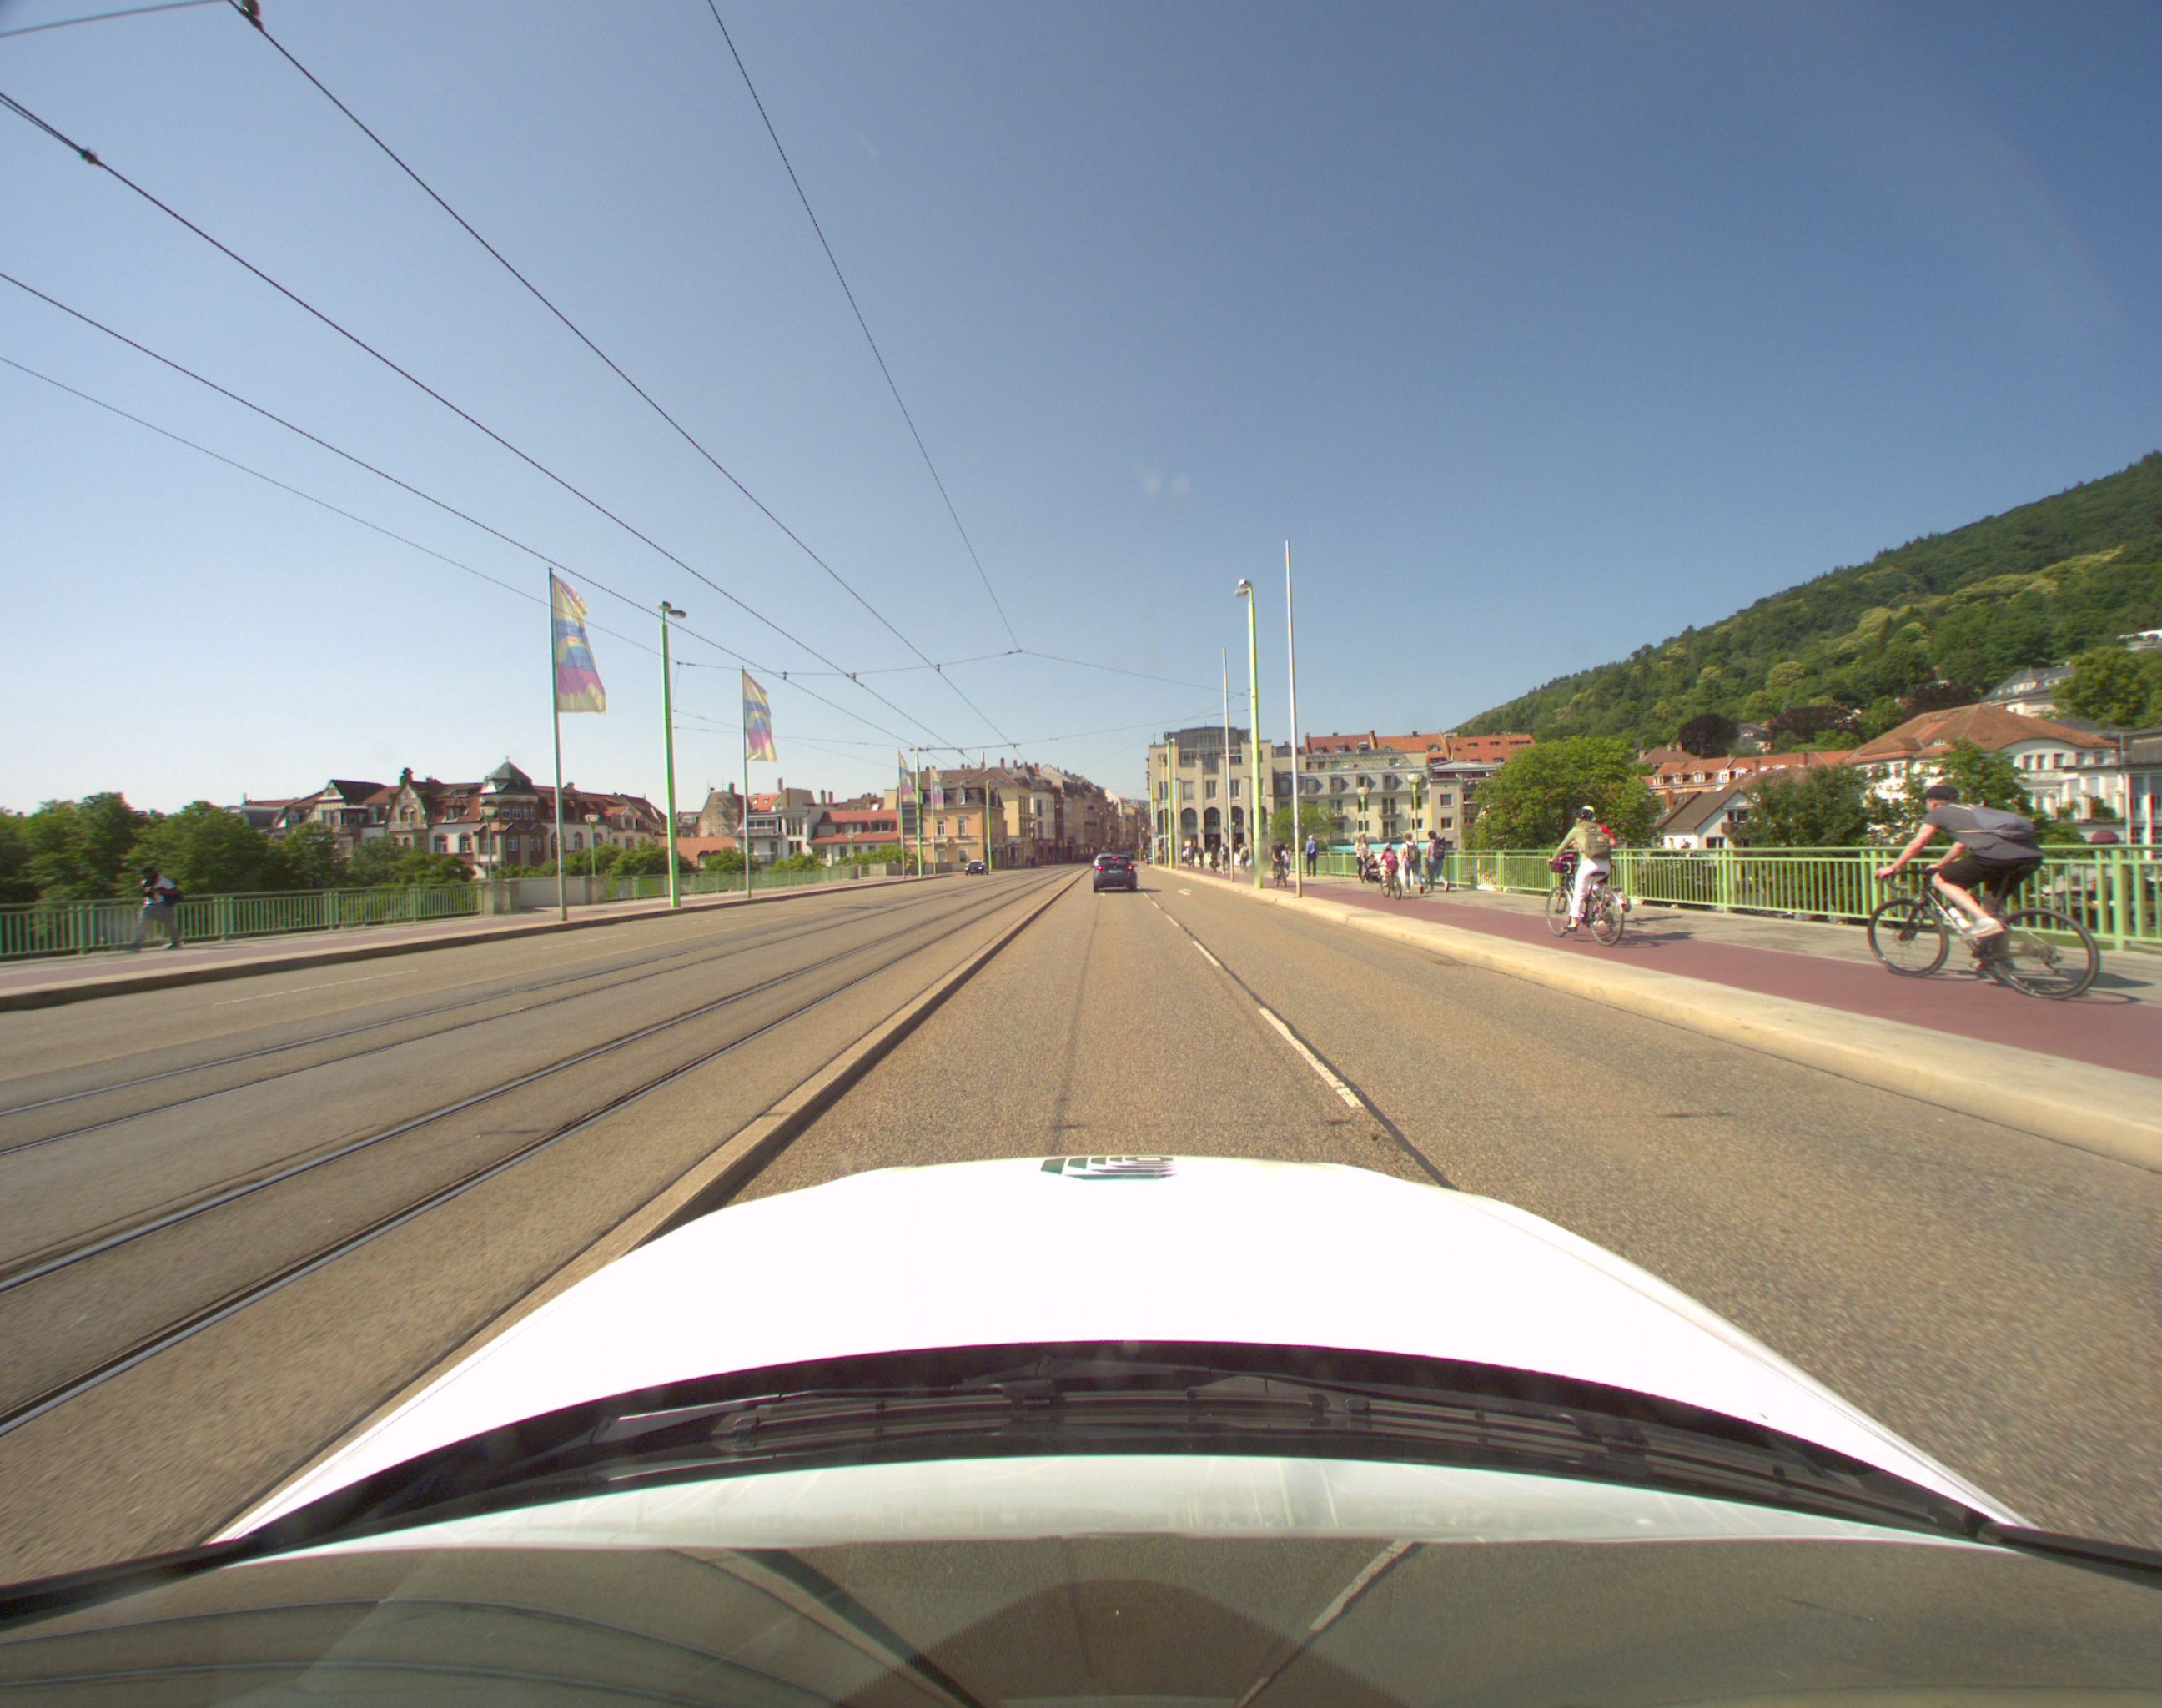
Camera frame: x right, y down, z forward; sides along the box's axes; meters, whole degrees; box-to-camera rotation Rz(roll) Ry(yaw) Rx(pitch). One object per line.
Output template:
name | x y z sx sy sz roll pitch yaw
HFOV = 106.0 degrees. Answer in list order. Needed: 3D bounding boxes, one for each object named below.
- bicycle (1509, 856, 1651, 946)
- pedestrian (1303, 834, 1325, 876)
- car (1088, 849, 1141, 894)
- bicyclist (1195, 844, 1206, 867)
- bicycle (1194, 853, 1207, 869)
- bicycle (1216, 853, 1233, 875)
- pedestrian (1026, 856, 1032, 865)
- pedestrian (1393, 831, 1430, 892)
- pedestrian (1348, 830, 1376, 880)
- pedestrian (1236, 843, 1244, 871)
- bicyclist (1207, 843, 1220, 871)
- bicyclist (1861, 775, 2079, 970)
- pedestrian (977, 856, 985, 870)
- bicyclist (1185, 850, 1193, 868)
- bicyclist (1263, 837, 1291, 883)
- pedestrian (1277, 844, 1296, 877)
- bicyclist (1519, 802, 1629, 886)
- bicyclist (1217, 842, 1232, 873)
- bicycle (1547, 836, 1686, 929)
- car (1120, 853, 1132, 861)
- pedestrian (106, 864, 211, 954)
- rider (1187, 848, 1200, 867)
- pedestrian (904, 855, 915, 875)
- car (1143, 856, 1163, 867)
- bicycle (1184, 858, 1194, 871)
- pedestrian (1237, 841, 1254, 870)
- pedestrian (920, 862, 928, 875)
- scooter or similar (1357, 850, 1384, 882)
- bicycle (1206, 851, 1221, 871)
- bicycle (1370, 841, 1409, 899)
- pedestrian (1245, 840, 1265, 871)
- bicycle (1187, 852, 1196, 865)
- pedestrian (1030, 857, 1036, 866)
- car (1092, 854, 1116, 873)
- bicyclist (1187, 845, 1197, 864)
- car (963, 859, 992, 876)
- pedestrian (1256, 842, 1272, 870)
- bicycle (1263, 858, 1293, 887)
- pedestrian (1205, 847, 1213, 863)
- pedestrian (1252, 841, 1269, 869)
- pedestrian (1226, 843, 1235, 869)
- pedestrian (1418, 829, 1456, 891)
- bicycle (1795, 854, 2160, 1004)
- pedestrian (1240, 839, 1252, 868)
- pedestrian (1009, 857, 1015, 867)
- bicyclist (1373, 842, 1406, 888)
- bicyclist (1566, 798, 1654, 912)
bicycle | 6.556 0.570 10.847 0.616 1.037 2.051 -2 0 0
pedestrian | 10.434 0.042 36.486 0.710 1.810 0.848 -2 0 1
car | 1.312 0.677 33.478 1.904 1.540 3.999 -4 1 -1
bicyclist | 9.007 0.112 61.415 0.713 1.676 0.869 -2 0 0
bicycle | 9.021 0.514 61.408 0.664 1.178 2.029 -2 0 0
bicycle | 8.023 0.550 45.675 0.591 1.178 1.939 -2 0 0
pedestrian | -7.974 1.028 124.319 0.759 1.397 0.664 -2 0 4
pedestrian | 8.847 0.198 21.833 0.597 1.586 0.867 -2 0 0
pedestrian | 10.065 0.039 29.208 0.640 1.756 0.866 -2 0 0
pedestrian | 10.237 0.170 52.469 0.366 1.794 0.604 0 0 1
bicyclist | 8.084 0.176 49.623 0.625 1.689 0.869 -2 0 0
bicyclist | 7.389 0.140 6.830 0.733 1.500 0.980 -2 0 0
pedestrian | -11.935 1.042 97.174 0.759 1.665 0.664 -2 0 4
bicyclist | 9.135 0.399 68.940 0.648 1.529 0.976 -2 0 5
bicyclist | 7.007 0.214 29.169 0.650 1.567 1.339 -3 -1 4
pedestrian | 9.428 0.290 37.357 0.611 1.465 0.848 -2 0 1
bicyclist | 6.524 -0.132 10.840 0.733 1.030 1.175 -2 0 0
bicyclist | 8.008 0.180 45.520 0.654 1.676 0.869 -2 0 0
bicycle | 8.026 0.384 12.345 0.616 1.271 2.216 -2 0 0
car | 8.908 0.541 160.946 1.868 1.409 4.008 -2 0 7
pedestrian | -18.733 1.082 16.570 0.827 1.722 1.094 -2 0 2
rider | 8.977 0.259 65.110 0.886 1.504 0.841 -2 0 0
pedestrian | -16.076 1.037 76.360 0.759 1.786 0.664 -2 0 4
car | 11.375 1.209 128.635 1.787 1.469 4.023 -3 0 24
bicycle | 9.135 0.887 68.881 0.663 1.049 2.032 -2 0 5
pedestrian | 9.877 0.092 48.999 0.831 1.689 0.869 -2 0 1
pedestrian | -15.665 1.472 81.336 0.570 1.304 0.544 -2 0 4
scooter or similar | 10.069 0.401 28.332 0.586 1.069 0.865 -2 0 0
bicycle | 8.051 0.418 49.598 0.524 1.178 2.029 -2 0 0
bicycle | 7.632 0.362 20.223 0.531 1.367 2.223 -2 0 11
pedestrian | 10.122 0.100 47.352 0.926 1.761 0.938 -2 0 1
bicycle | 9.792 0.396 72.370 0.663 1.178 2.032 -2 0 5
pedestrian | -7.216 1.102 122.291 0.759 1.397 0.664 -2 0 4
car | 1.922 0.820 69.650 1.799 1.469 3.998 -3 0 -1
bicyclist | 9.807 0.035 72.218 0.792 1.676 0.870 -2 0 4
car | -9.926 1.269 78.347 1.985 1.479 4.004 -2 0 4
pedestrian | 11.079 0.105 49.328 0.710 1.651 0.848 -2 0 2
bicycle | 7.030 0.641 29.115 0.650 0.981 2.180 -3 0 4
pedestrian | 12.178 0.077 77.603 0.654 1.451 0.644 -2 0 -2
pedestrian | 11.089 0.041 50.260 0.831 1.689 0.869 -2 0 1
pedestrian | 9.602 0.126 52.398 0.424 1.671 0.620 1 0 1
pedestrian | 9.464 0.152 21.677 0.597 1.586 0.867 -2 0 0
bicycle | 7.421 0.533 6.970 0.616 1.037 2.266 -2 0 0
pedestrian | 10.259 -0.021 50.686 0.526 1.748 0.728 -2 0 1
pedestrian | -10.319 1.192 122.092 0.759 1.397 0.664 -2 0 4
bicyclist | 7.635 0.263 20.192 0.595 1.101 0.855 -2 0 11
bicyclist | 8.013 0.011 12.371 0.733 1.635 0.867 -2 0 0
